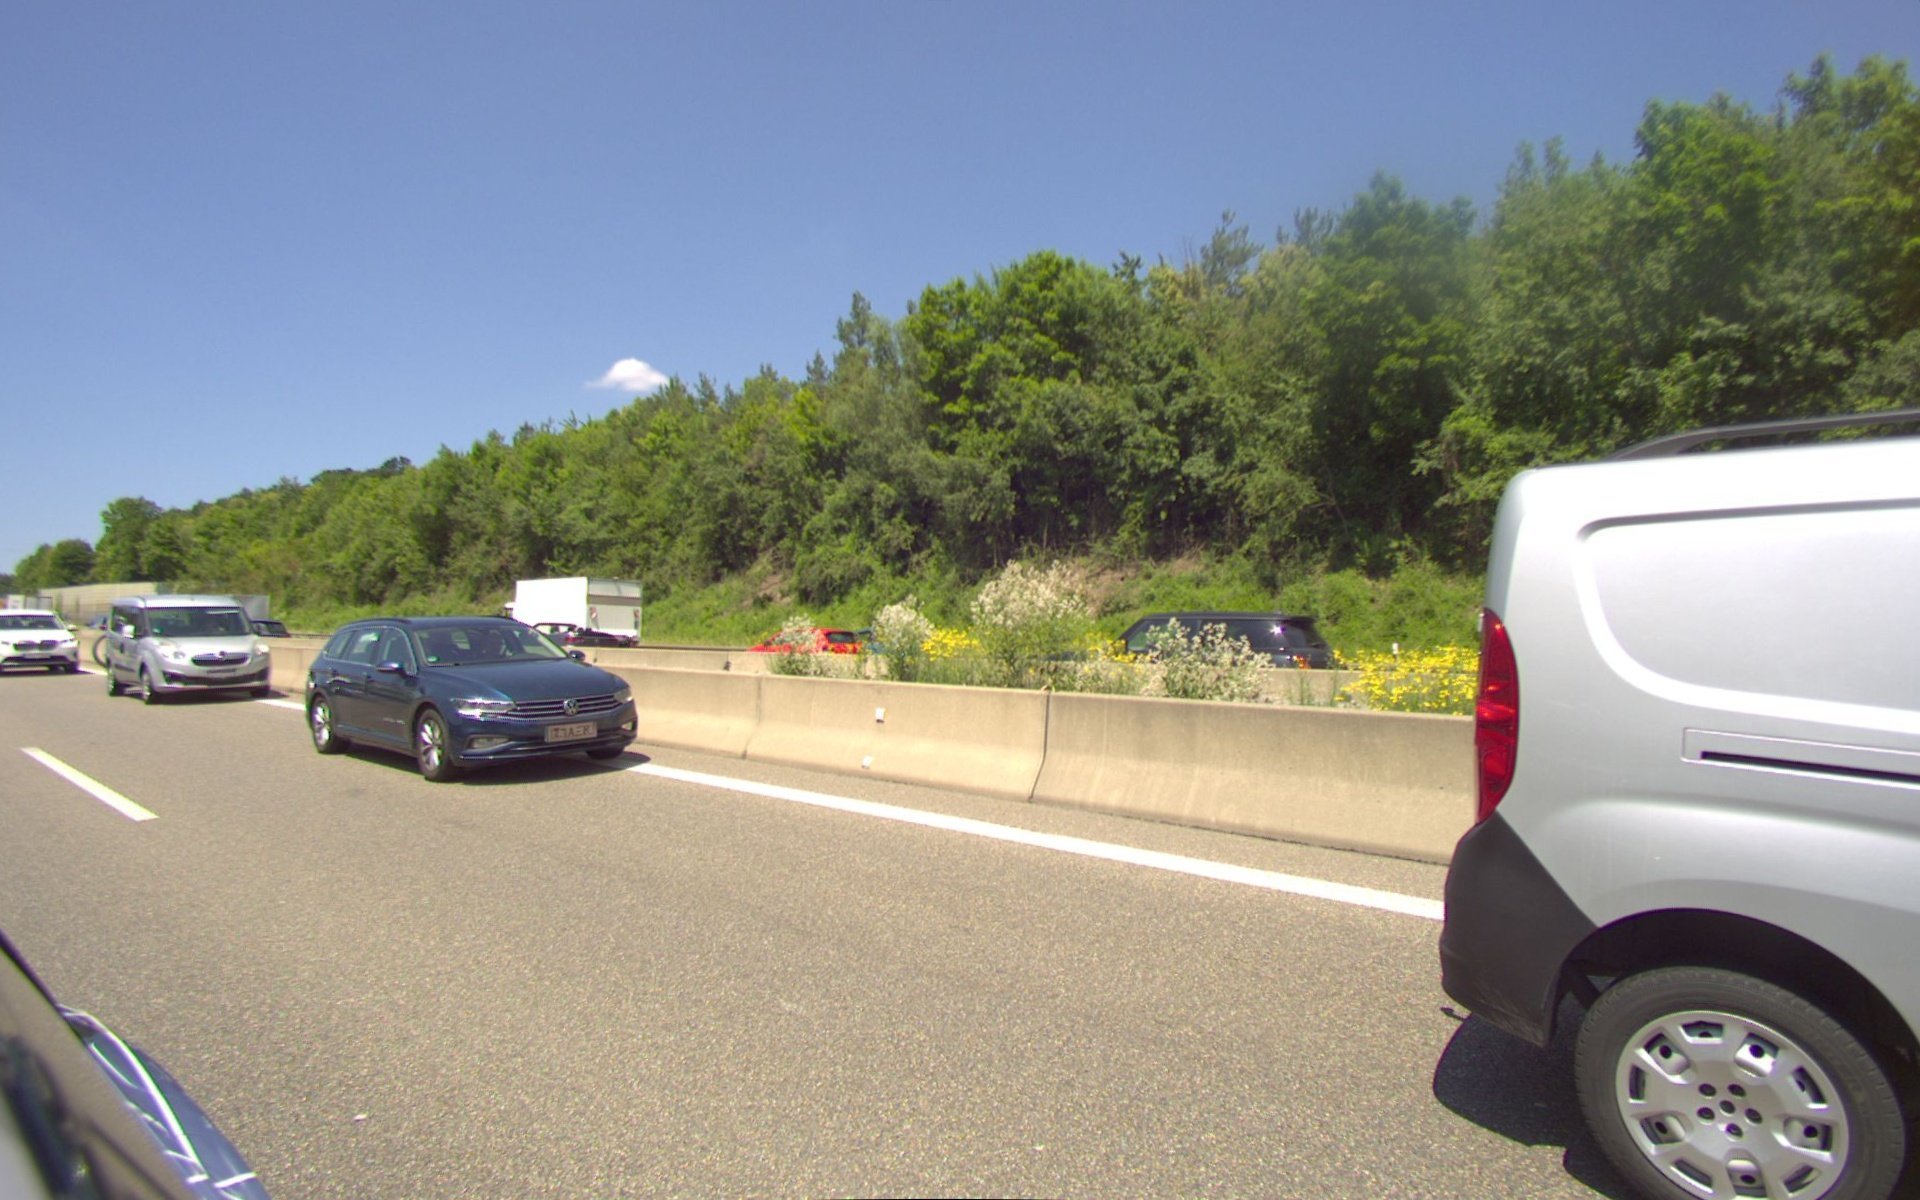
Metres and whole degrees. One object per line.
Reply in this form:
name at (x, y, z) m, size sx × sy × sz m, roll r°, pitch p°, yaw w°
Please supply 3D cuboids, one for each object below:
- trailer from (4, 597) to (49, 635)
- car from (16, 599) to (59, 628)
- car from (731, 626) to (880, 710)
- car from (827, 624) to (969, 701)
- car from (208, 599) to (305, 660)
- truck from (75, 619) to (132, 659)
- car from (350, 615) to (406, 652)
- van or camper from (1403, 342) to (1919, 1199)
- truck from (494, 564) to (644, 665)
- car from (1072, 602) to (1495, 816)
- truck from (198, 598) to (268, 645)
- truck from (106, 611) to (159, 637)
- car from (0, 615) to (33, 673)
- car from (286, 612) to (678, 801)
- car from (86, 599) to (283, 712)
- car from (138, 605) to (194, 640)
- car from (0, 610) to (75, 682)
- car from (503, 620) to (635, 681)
trailer at (-115.409, 1.927, 125.052) m, size 10.811 × 4.515 × 2.919 m, roll 0°, pitch 0°, yaw 41°
car at (-65.351, 0.919, 71.661) m, size 4.958 × 2.029 × 1.971 m, roll 0°, pitch 0°, yaw 44°
car at (-4.307, 1.791, 27.980) m, size 3.997 × 2.029 × 1.973 m, roll 0°, pitch 0°, yaw 40°
car at (-1.879, 1.783, 30.207) m, size 3.997 × 2.029 × 1.973 m, roll 0°, pitch 0°, yaw 40°
car at (-25.047, 0.988, 36.008) m, size 3.999 × 2.029 × 1.972 m, roll 0°, pitch 0°, yaw 42°
truck at (-43.973, 1.970, 51.931) m, size 3.998 × 1.962 × 1.682 m, roll -1°, pitch -1°, yaw 42°
car at (-34.131, 1.918, 59.280) m, size 3.511 × 2.029 × 1.832 m, roll 0°, pitch 0°, yaw 41°
van or camper at (3.469, 0.408, 1.790) m, size 4.560 × 1.894 × 1.833 m, roll -2°, pitch -1°, yaw 42°
truck at (-17.046, 0.585, 43.842) m, size 7.986 × 4.019 × 2.664 m, roll 0°, pitch 0°, yaw 41°
car at (3.407, 0.976, 11.041) m, size 3.998 × 1.896 × 1.887 m, roll 0°, pitch 0°, yaw 41°
truck at (-47.235, 1.325, 65.707) m, size 6.738 × 2.906 × 2.155 m, roll 0°, pitch 0°, yaw 40°
truck at (-69.883, 1.972, 85.414) m, size 6.487 × 2.029 × 2.327 m, roll 0°, pitch 0°, yaw 40°
car at (-31.501, 1.395, 32.506) m, size 3.995 × 1.770 × 1.974 m, roll 0°, pitch 0°, yaw 39°
car at (-4.960, 0.860, 10.161) m, size 4.675 × 1.461 × 1.855 m, roll -1°, pitch 0°, yaw 41°
car at (-14.105, 0.878, 18.286) m, size 4.914 × 1.786 × 1.834 m, roll 0°, pitch 0°, yaw 40°
car at (-48.662, 1.360, 62.019) m, size 4.418 × 2.029 × 1.972 m, roll 0°, pitch 0°, yaw 42°
car at (-24.476, 1.130, 26.234) m, size 3.998 × 1.719 × 1.800 m, roll 0°, pitch 0°, yaw 41°
car at (-11.386, 1.404, 29.348) m, size 3.998 × 1.531 × 1.973 m, roll 0°, pitch 0°, yaw 41°
